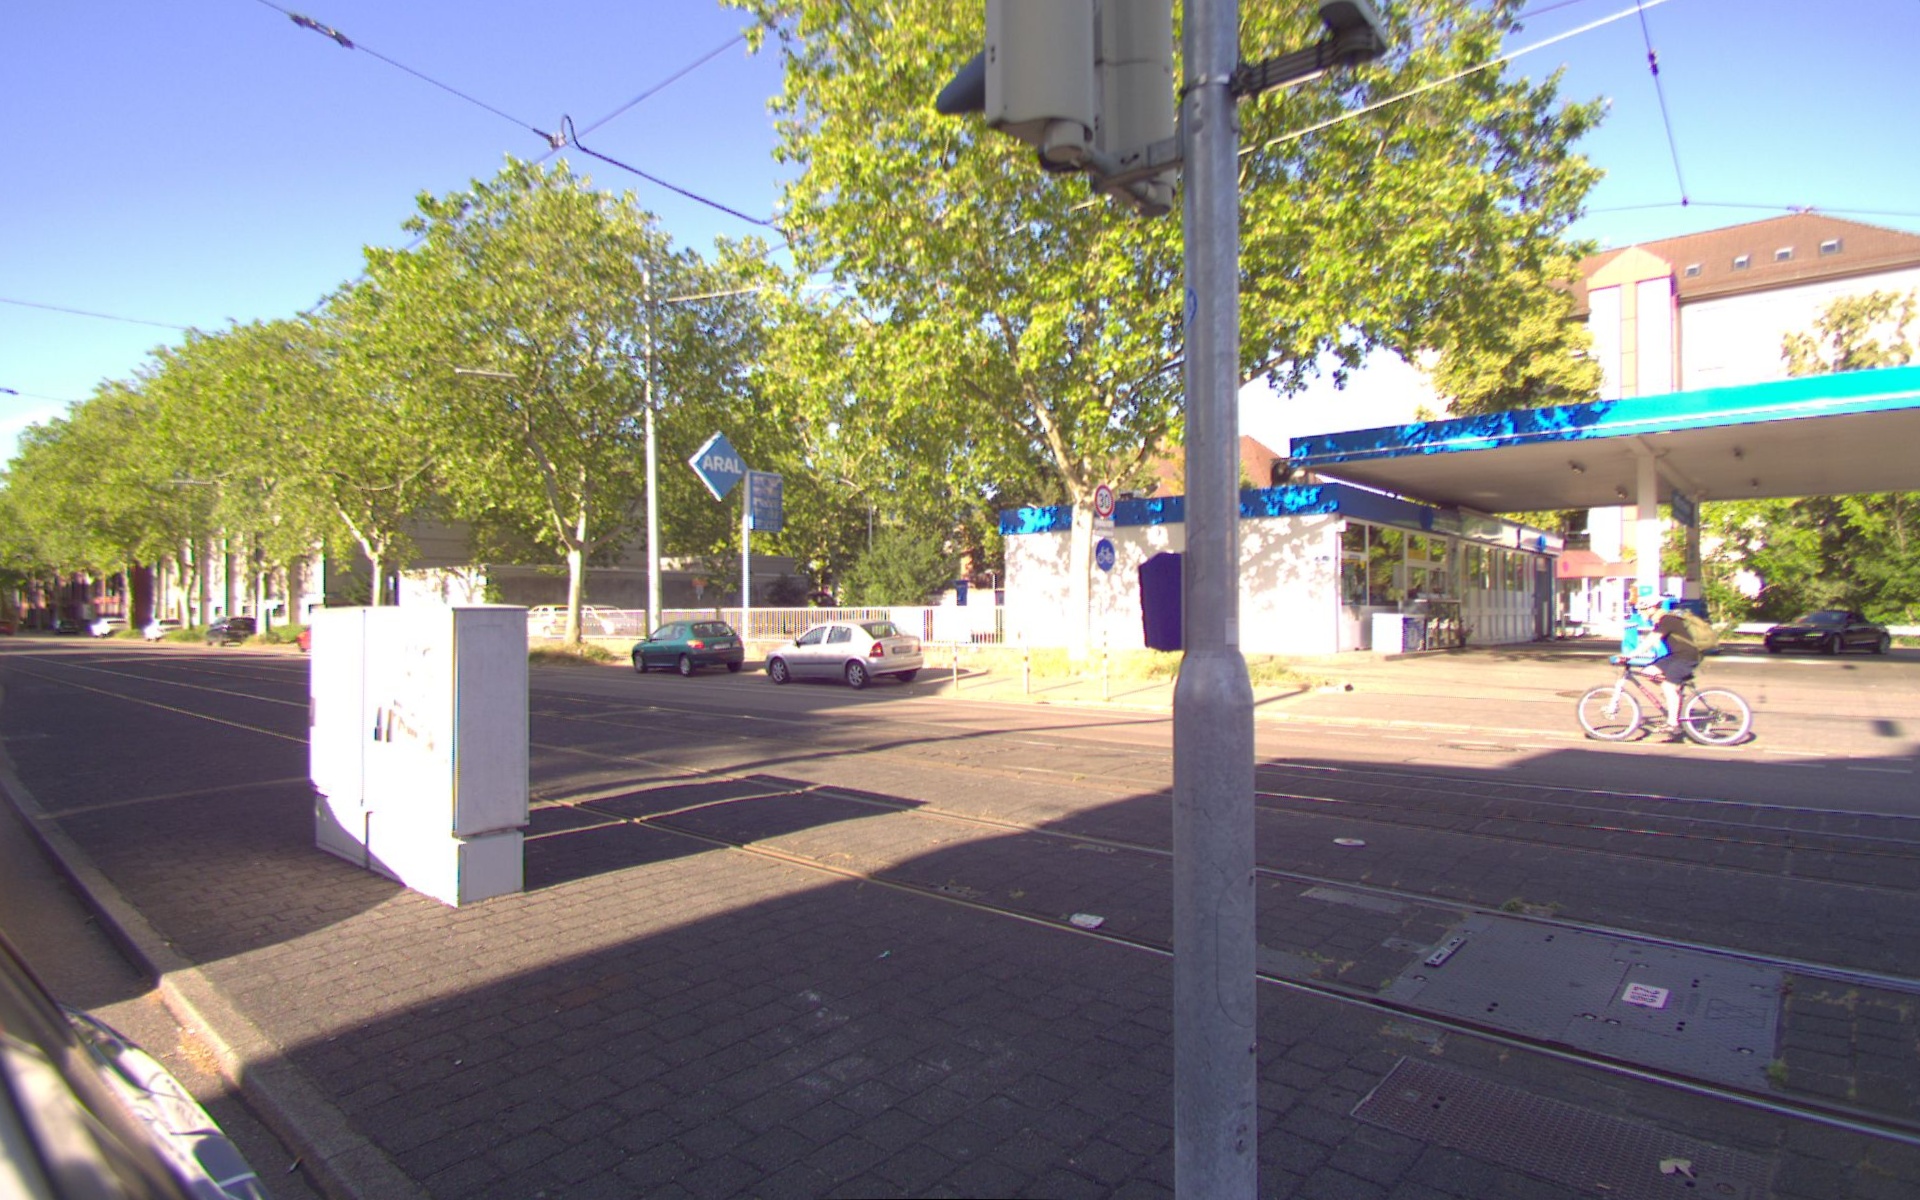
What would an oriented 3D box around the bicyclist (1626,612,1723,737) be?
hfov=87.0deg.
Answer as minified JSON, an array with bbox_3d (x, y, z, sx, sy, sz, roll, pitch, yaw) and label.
[{"bbox_3d":[8.222,0.839,11.668,0.798,1.376,0.555,-1,0,25],"label":"bicyclist"}]

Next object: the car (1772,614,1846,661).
[{"bbox_3d":[26.349,1.129,31.414,1.665,1.309,3.433,-1,0,41],"label":"car"}]

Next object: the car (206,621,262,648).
[{"bbox_3d":[-40.601,1.895,56.553,3.998,1.420,1.678,-1,-2,41],"label":"car"}]

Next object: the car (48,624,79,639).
[{"bbox_3d":[-85.189,2.987,96.134,3.998,1.420,1.678,-1,-2,41],"label":"car"}]

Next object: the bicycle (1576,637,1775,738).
[{"bbox_3d":[8.217,0.983,11.712,1.784,1.078,0.570,-1,0,25],"label":"bicycle"}]

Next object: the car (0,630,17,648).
[{"bbox_3d":[-86.407,3.521,90.890,4.761,1.534,1.887,-1,-2,40],"label":"car"}]

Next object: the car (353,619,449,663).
[{"bbox_3d":[-22.196,1.577,40.123,4.431,1.534,1.731,-1,3,40],"label":"car"}]

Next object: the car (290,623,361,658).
[{"bbox_3d":[-29.031,1.820,46.259,3.998,1.480,1.678,0,-1,41],"label":"car"}]

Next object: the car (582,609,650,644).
[{"bbox_3d":[-14.812,1.127,43.560,3.151,1.431,1.525,-1,0,44],"label":"car"}]

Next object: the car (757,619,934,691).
[{"bbox_3d":[-2.618,1.159,22.674,3.998,1.431,1.709,-1,0,41],"label":"car"}]

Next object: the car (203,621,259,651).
[{"bbox_3d":[-40.736,1.987,56.512,3.998,1.587,1.678,-1,-2,41],"label":"car"}]

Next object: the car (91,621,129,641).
[{"bbox_3d":[-66.816,2.425,79.520,3.998,1.569,1.678,-1,-2,41],"label":"car"}]

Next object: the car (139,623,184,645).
[{"bbox_3d":[-53.813,2.299,68.174,3.998,1.420,1.678,-1,-2,41],"label":"car"}]

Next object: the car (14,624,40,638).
[{"bbox_3d":[-103.063,3.402,111.785,3.998,1.420,1.678,-1,-2,41],"label":"car"}]

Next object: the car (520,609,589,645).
[{"bbox_3d":[-16.834,1.100,41.957,3.151,1.431,1.525,-1,0,44],"label":"car"}]

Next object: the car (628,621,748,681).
[{"bbox_3d":[-7.231,1.303,26.793,3.253,1.431,1.526,-1,0,41],"label":"car"}]
